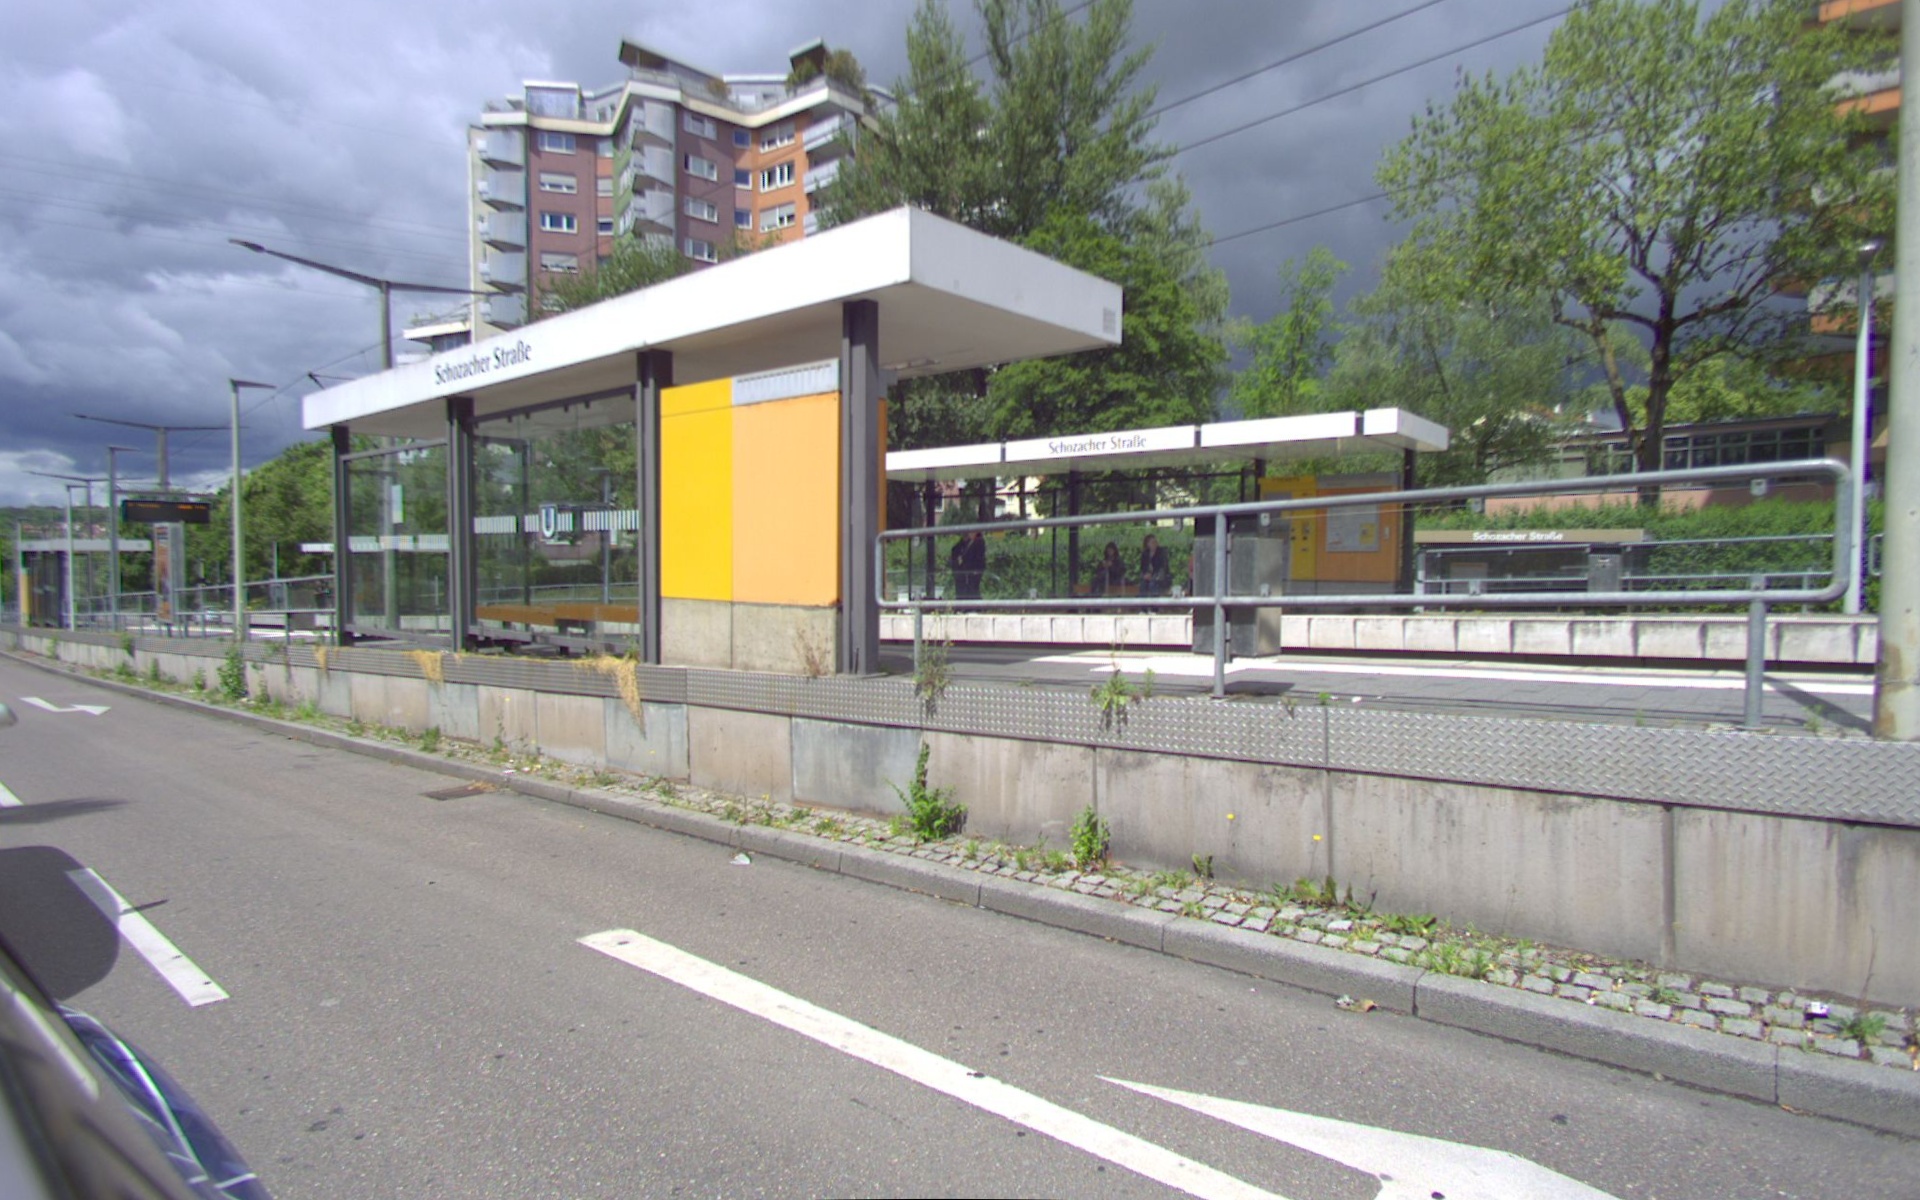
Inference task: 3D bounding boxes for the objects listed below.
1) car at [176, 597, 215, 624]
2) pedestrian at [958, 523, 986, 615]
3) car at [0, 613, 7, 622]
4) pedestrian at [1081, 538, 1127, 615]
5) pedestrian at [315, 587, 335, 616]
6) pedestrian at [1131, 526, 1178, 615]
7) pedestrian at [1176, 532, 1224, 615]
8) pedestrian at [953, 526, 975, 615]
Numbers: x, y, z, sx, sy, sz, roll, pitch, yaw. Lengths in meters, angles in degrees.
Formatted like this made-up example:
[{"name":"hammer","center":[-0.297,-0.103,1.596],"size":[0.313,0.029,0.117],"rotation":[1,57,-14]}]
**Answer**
[{"name":"car","center":[-60.454,0.835,79.997],"size":[4.000,2.029,1.714],"rotation":[-1,0,43]},{"name":"pedestrian","center":[0.227,-0.580,19.150],"size":[0.380,1.726,0.553],"rotation":[-1,0,-13]},{"name":"car","center":[-151.547,2.726,159.604],"size":[3.709,1.413,1.621],"rotation":[0,0,45]},{"name":"pedestrian","center":[2.492,-0.400,17.484],"size":[0.463,1.287,0.704],"rotation":[-1,0,40]},{"name":"pedestrian","center":[-28.765,0.057,45.846],"size":[0.529,1.287,0.562],"rotation":[-1,0,-2]},{"name":"pedestrian","center":[3.207,-0.479,16.683],"size":[0.463,1.428,0.704],"rotation":[-1,0,40]},{"name":"pedestrian","center":[3.831,-0.417,16.130],"size":[0.463,1.287,0.704],"rotation":[-1,0,40]},{"name":"pedestrian","center":[0.081,-0.565,19.815],"size":[0.347,1.726,0.428],"rotation":[-1,0,-9]}]
